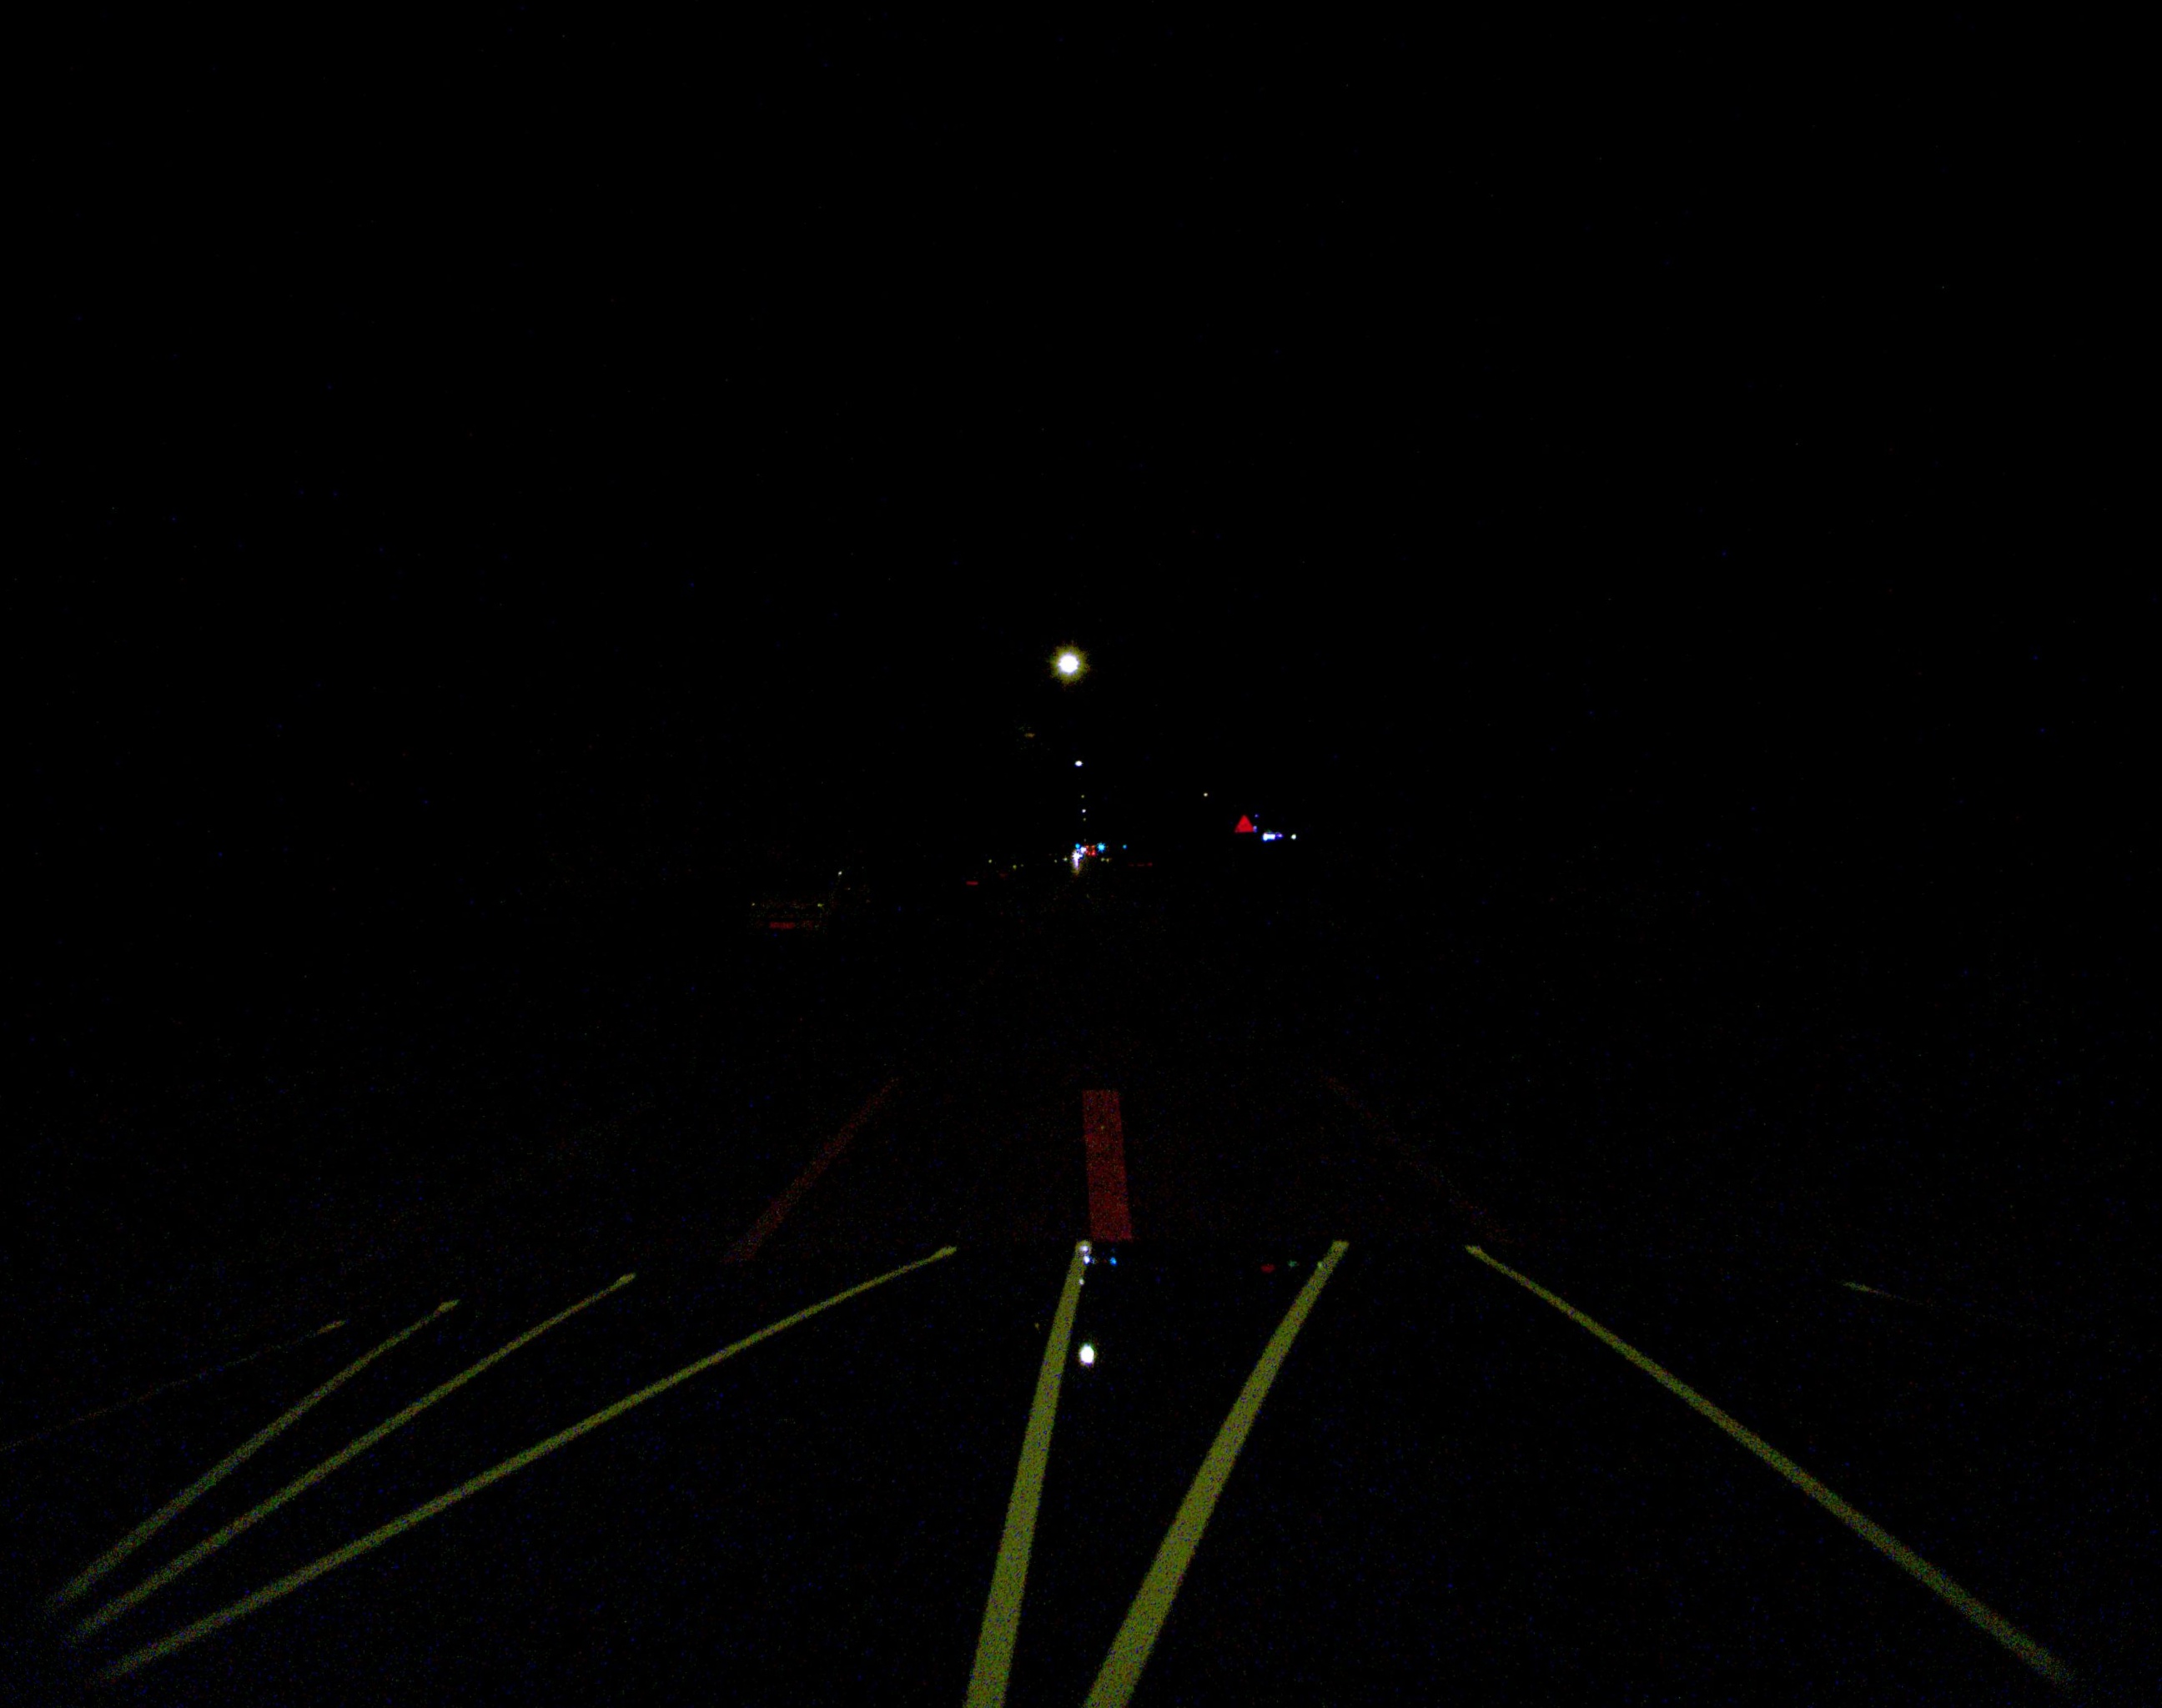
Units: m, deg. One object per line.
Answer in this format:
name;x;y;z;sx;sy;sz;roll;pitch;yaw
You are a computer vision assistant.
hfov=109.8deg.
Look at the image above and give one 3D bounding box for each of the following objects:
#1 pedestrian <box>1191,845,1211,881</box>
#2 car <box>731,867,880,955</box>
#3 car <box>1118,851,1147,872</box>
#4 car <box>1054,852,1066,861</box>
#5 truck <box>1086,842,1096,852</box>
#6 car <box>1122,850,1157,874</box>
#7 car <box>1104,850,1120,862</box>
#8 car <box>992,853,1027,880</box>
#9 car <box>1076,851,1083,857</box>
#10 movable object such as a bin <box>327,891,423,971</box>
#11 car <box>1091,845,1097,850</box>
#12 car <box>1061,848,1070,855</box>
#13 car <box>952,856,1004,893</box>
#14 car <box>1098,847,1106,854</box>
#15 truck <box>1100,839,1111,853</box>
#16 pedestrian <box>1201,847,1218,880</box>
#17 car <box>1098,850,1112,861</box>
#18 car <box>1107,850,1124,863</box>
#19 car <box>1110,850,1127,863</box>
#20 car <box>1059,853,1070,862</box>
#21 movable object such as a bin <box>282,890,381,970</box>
pedestrian;5.740;0.427;36.441;0.744;1.662;1.103;-2;1;0
car;-5.335;1.029;15.197;1.672;1.476;3.603;0;0;0
car;3.893;0.560;57.839;1.864;1.458;3.896;-4;0;-1
car;-3.577;0.395;128.582;1.874;1.407;3.999;-2;0;0
truck;3.641;-2.531;264.365;3.222;3.360;8.850;-2;0;1
car;3.970;0.516;52.324;1.864;1.524;4.587;-4;0;-1
car;4.443;0.297;110.058;1.874;1.635;3.999;-2;0;-3
car;-4.451;0.770;47.804;1.742;1.588;4.359;0;0;1
car;-0.406;-0.004;191.302;1.874;1.635;3.999;-2;0;0
movable object such as a bin;-10.021;1.076;10.808;0.609;1.042;0.755;-2;1;1
car;4.156;-2.039;240.103;1.873;1.635;4.000;-2;0;1
car;-3.325;-0.599;163.443;1.874;1.407;3.999;-2;0;0
car;-4.568;0.870;34.283;1.865;1.544;4.044;0;0;-1
car;5.001;-0.758;180.308;1.873;1.551;4.353;-2;0;1
truck;4.968;-1.623;155.503;2.084;2.562;6.873;-2;0;1
pedestrian;6.726;0.488;39.804;0.670;1.716;0.866;-2;1;-2
car;3.729;0.207;119.490;1.874;1.635;3.999;-2;0;-3
car;4.725;0.356;105.120;1.874;1.635;3.999;-2;0;-3
car;4.967;0.328;100.864;1.874;1.635;3.999;-2;0;-3
car;-2.981;0.569;134.795;1.874;1.407;3.999;-2;0;0
movable object such as a bin;-10.658;1.059;10.828;0.609;1.042;0.755;-2;1;1
